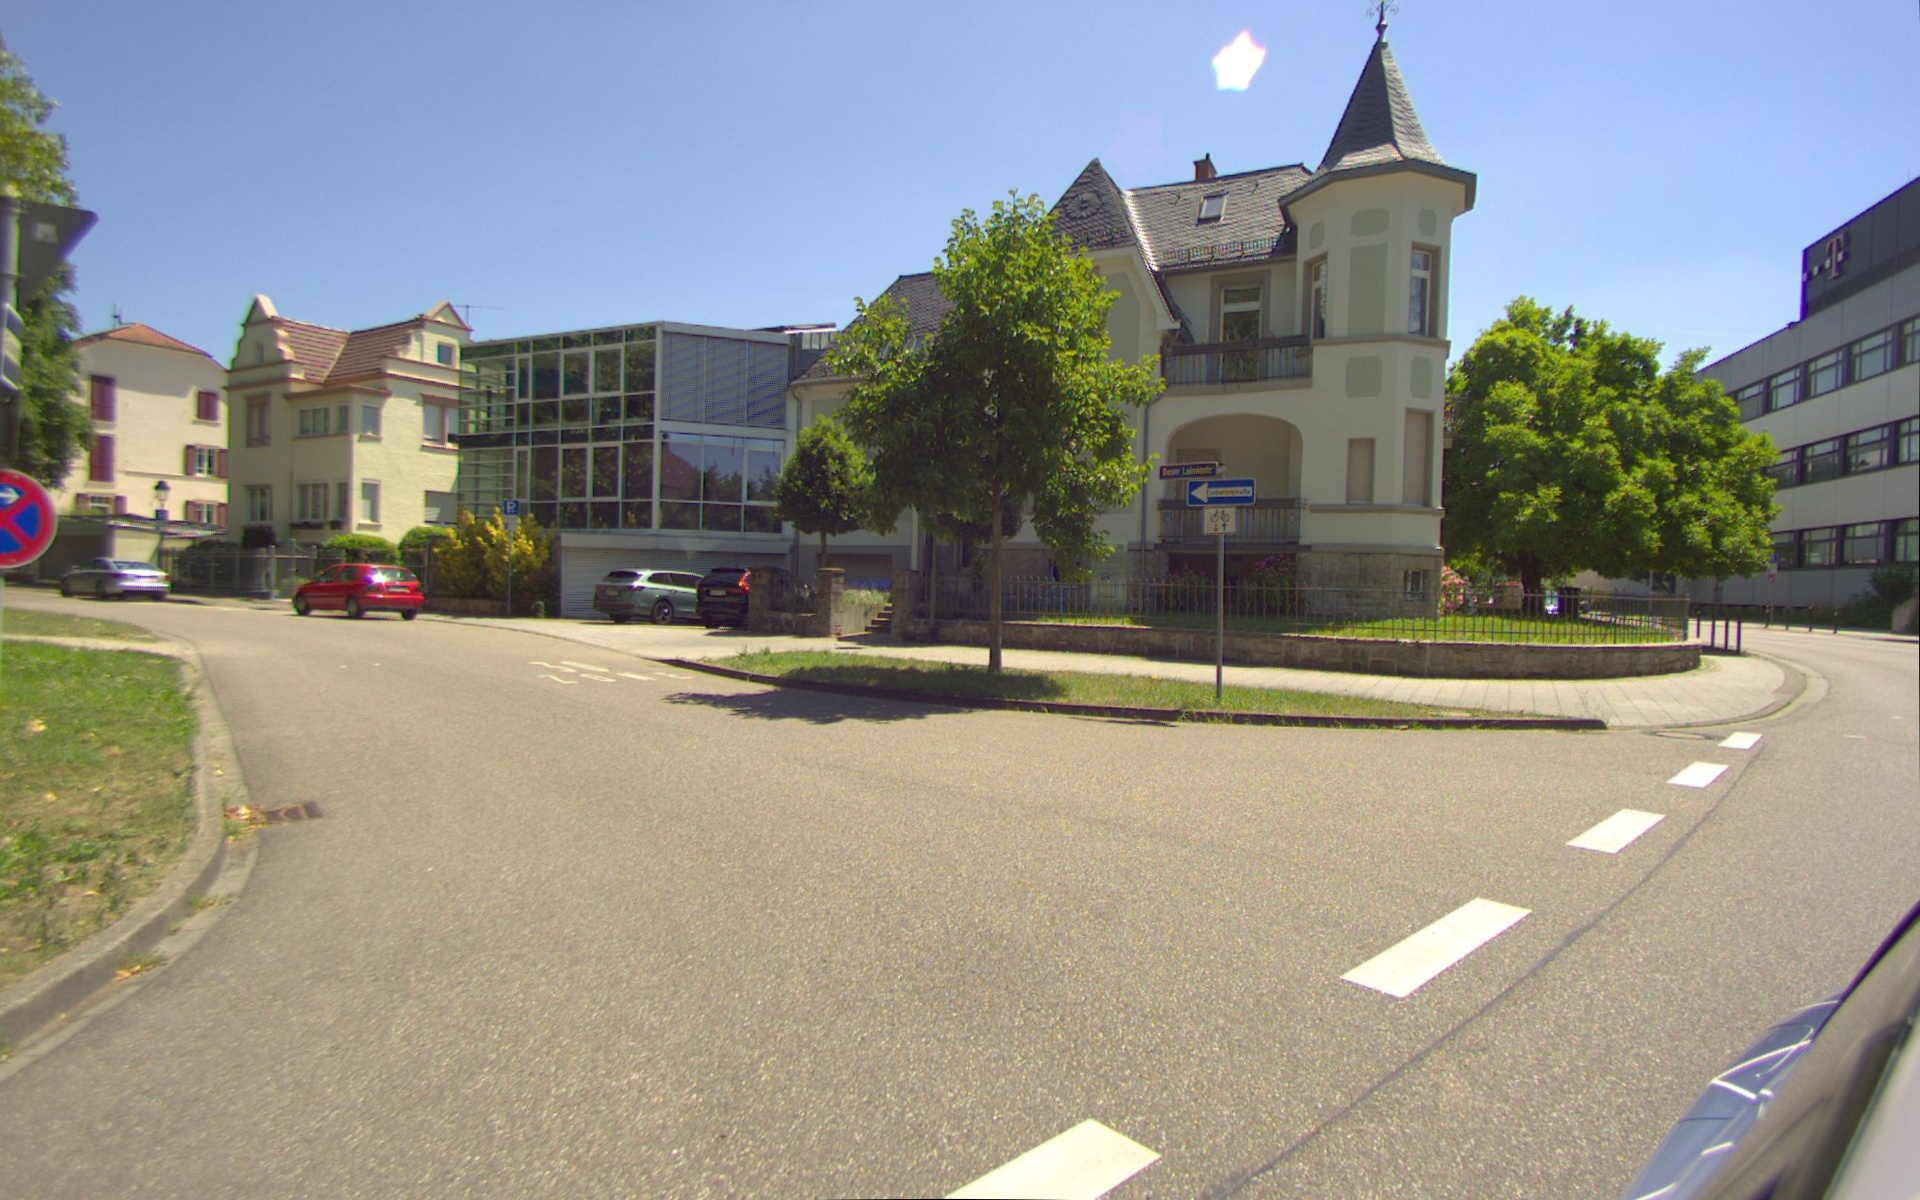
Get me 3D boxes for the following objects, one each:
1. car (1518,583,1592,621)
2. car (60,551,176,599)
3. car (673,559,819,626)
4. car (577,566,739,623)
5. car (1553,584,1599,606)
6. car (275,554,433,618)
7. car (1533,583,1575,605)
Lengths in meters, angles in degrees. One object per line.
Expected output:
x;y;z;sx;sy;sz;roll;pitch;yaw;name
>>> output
26.201;0.042;44.705;1.750;1.560;3.982;2;2;15;car
-28.951;-0.858;34.777;3.964;1.526;1.737;2;1;28;car
-5.573;-0.236;26.894;1.976;1.587;3.974;2;2;20;car
-8.121;-0.198;27.517;1.984;1.408;3.956;1;2;31;car
42.914;-0.360;70.581;1.712;1.467;4.011;0;1;15;car
-16.105;-0.396;26.876;3.960;1.543;1.738;2;2;26;car
44.291;-0.453;75.519;1.722;1.521;3.717;1;1;15;car
